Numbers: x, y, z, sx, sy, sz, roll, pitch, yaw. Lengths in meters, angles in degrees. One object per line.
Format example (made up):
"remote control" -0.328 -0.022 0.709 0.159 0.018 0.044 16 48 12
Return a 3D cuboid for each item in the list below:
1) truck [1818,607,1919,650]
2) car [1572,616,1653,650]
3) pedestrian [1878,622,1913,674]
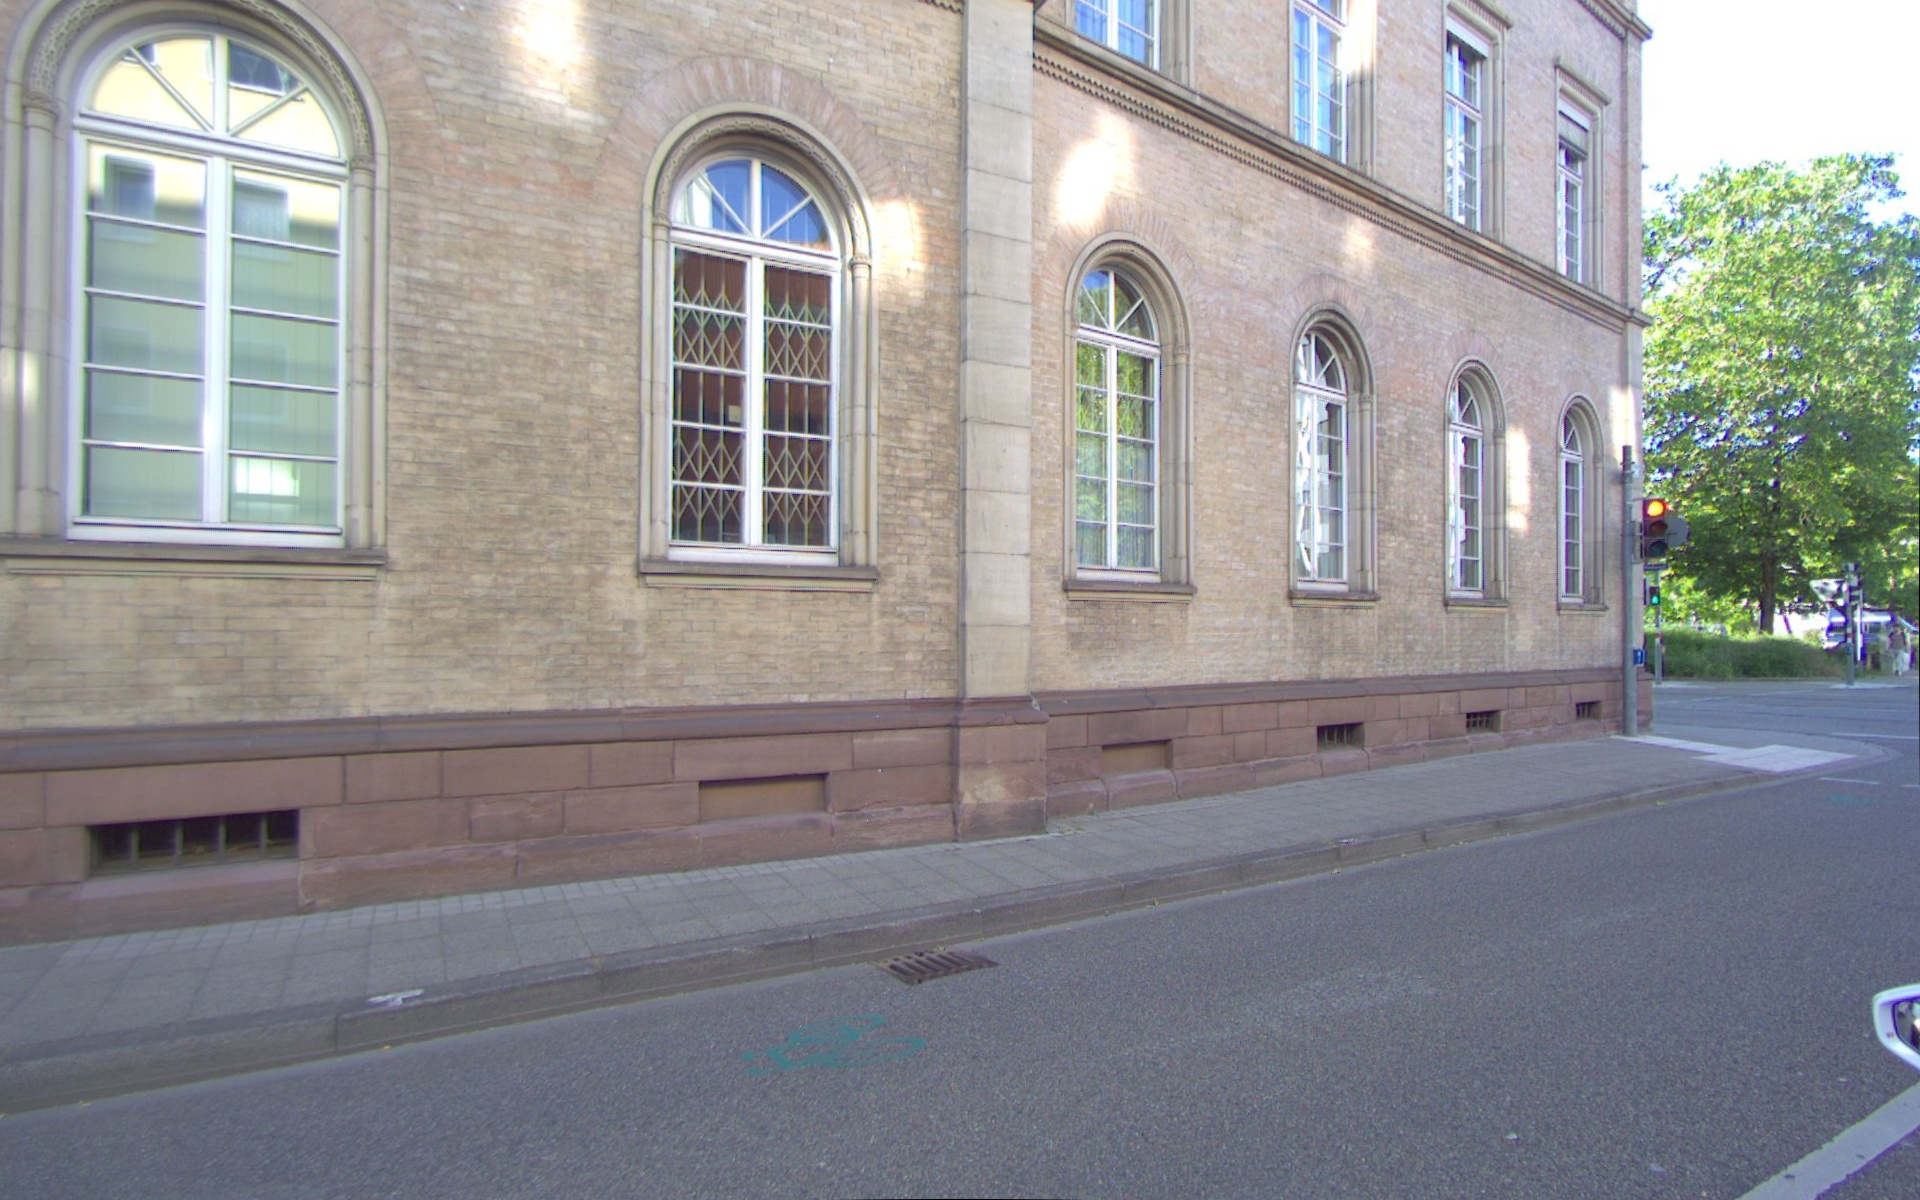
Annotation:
"truck" 53.773 1.670 59.078 2.069 2.431 4.790 1 -1 -39
"car" 47.848 2.475 73.731 2.056 2.423 4.521 2 -3 -38
"pedestrian" 31.644 1.618 33.986 0.947 1.745 0.697 2 -3 -39
